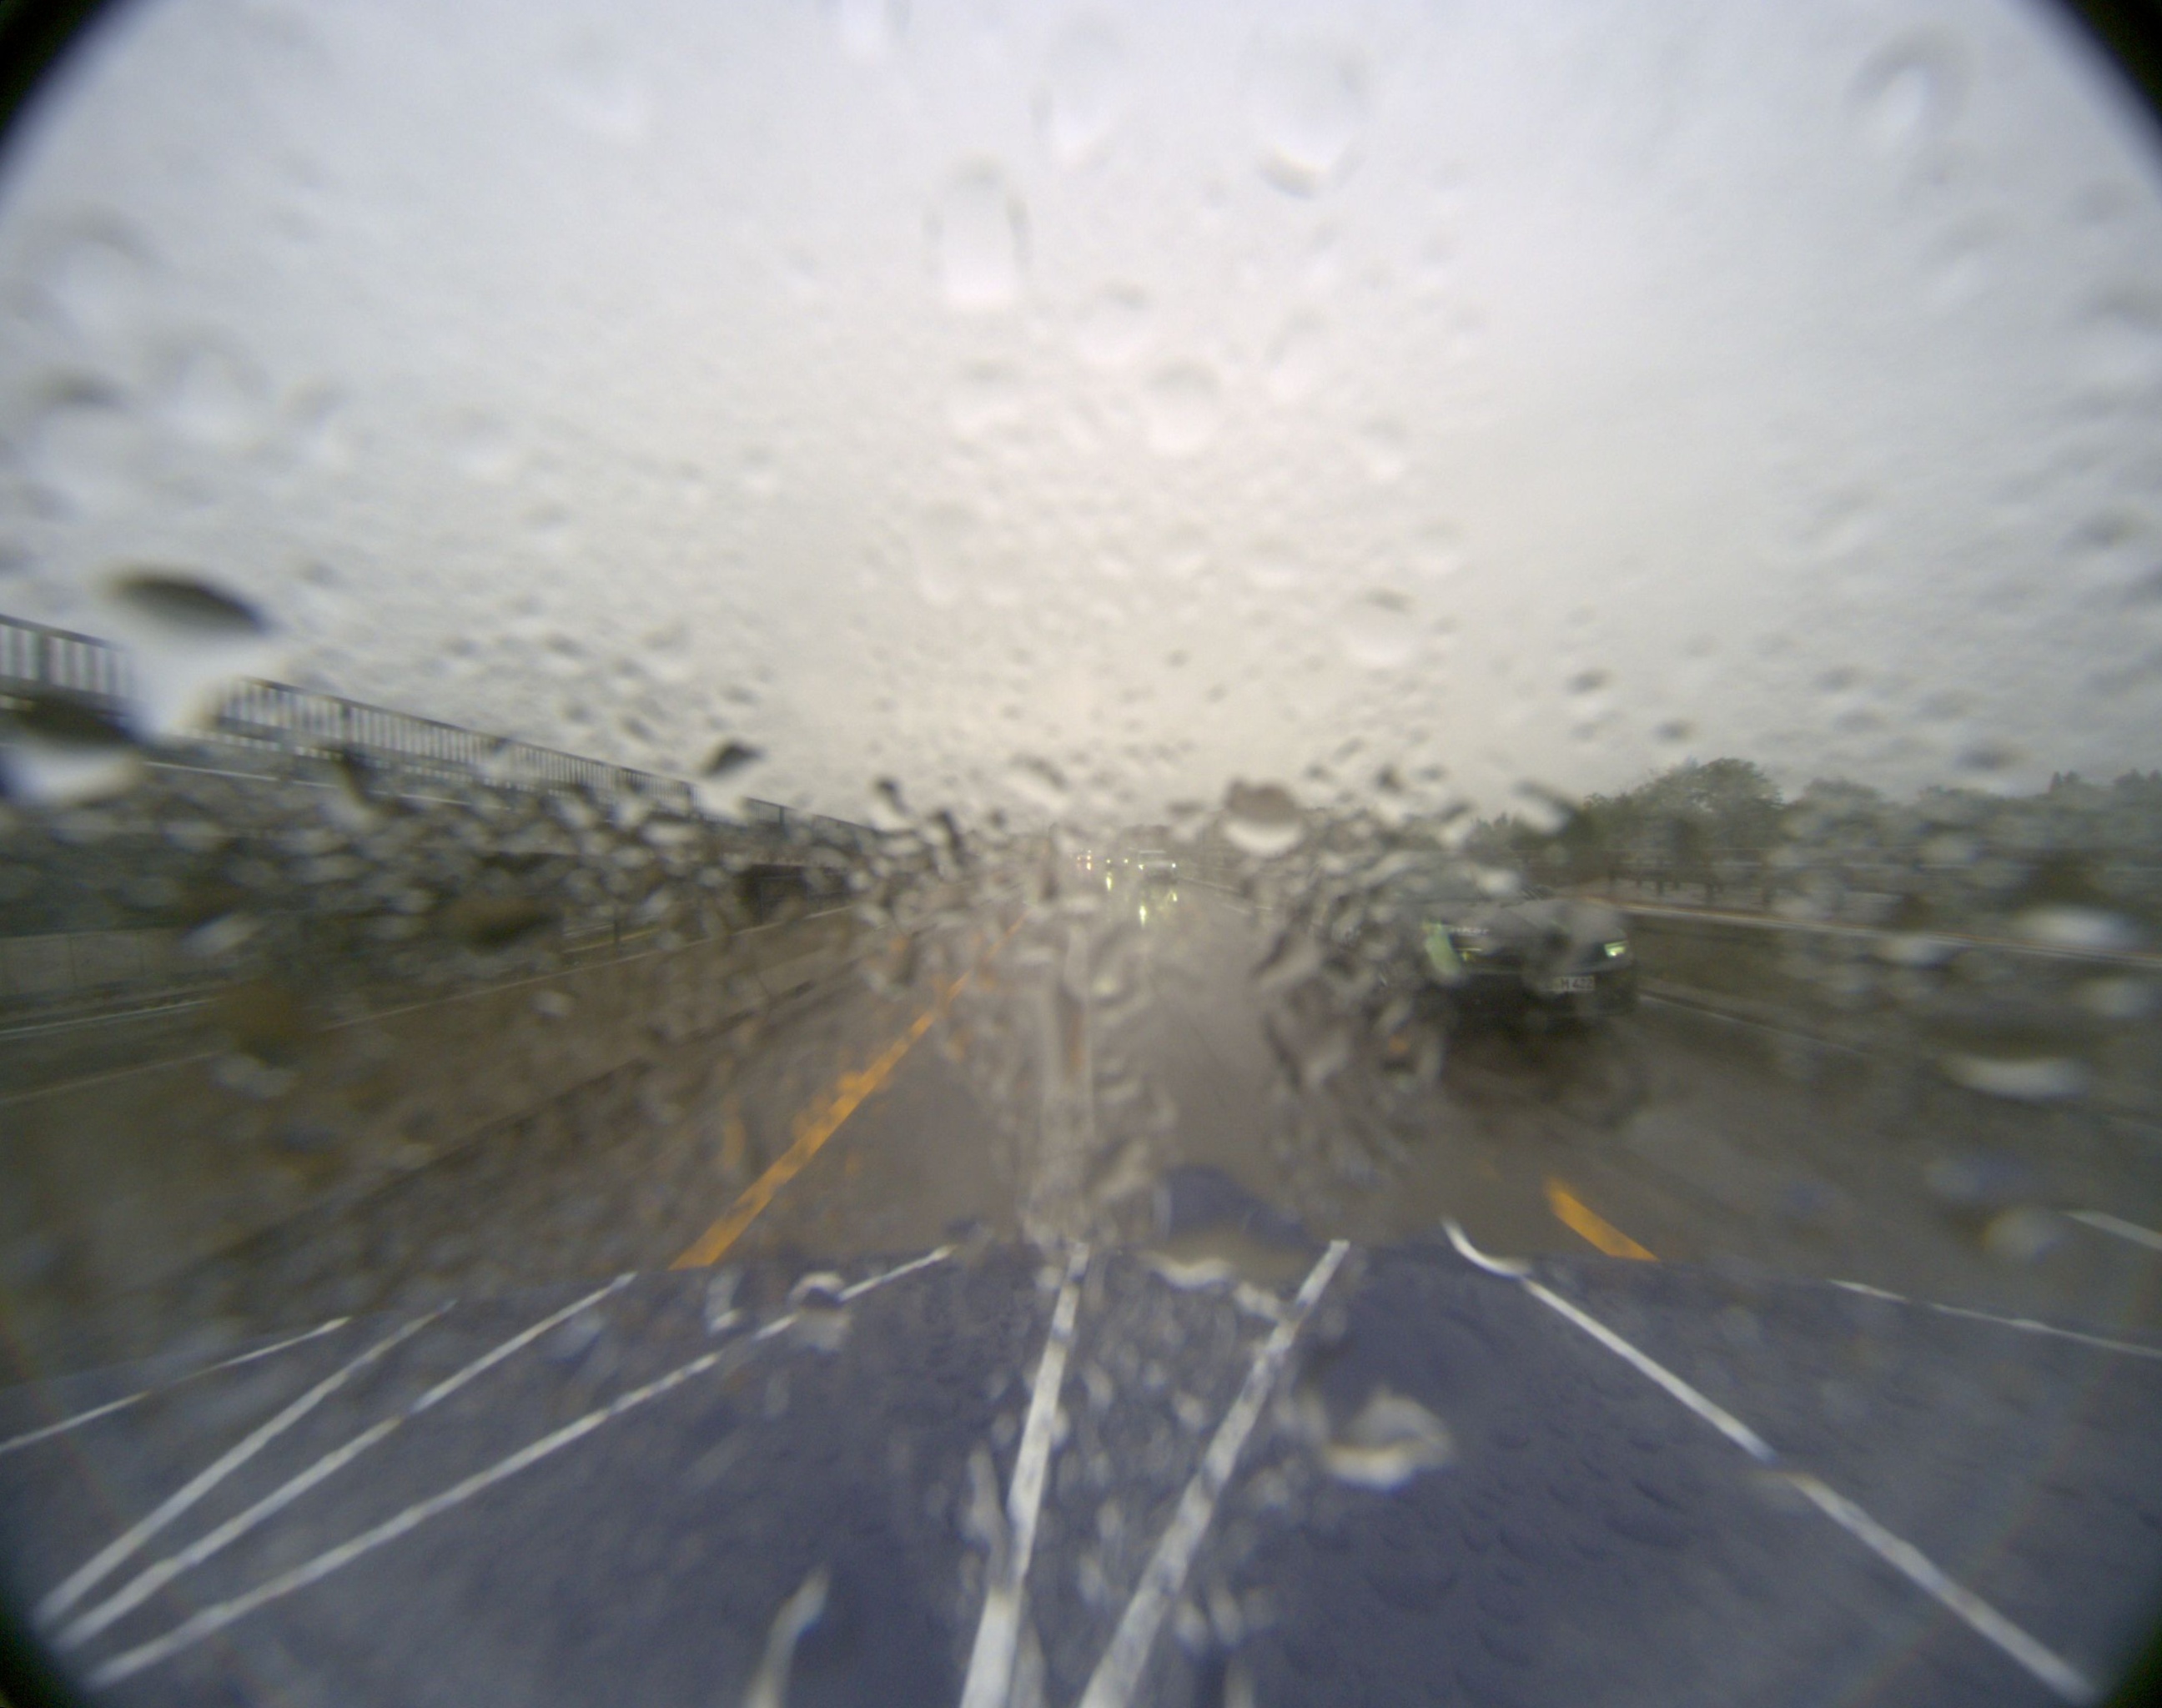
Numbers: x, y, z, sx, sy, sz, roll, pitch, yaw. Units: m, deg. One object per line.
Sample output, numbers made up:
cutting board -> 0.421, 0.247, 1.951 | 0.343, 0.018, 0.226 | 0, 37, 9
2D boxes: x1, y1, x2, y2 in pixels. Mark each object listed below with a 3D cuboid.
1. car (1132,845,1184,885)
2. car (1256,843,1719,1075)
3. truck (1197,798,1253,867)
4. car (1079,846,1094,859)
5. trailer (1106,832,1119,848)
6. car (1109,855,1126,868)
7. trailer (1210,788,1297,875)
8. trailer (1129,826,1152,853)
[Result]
car -> 3.582, 0.479, 36.136 | 1.972, 1.670, 3.999 | -2, 1, -1
car -> 3.296, 0.707, 7.506 | 1.944, 1.518, 4.795 | -1, 0, -1
truck -> 10.017, -1.476, 53.372 | 2.509, 4.437, 6.879 | -2, 1, 0
car -> 0.741, -0.220, 110.998 | 1.999, 1.762, 3.999 | -2, 1, -1
trailer -> 8.774, -4.022, 211.404 | 2.693, 4.253, 13.067 | -2, 1, 0
car -> 3.094, 0.639, 64.875 | 1.335, 1.105, 3.198 | 1, 0, 0
trailer -> 9.977, -1.296, 45.341 | 2.491, 4.418, 11.192 | -2, 1, 0
trailer -> 9.845, -2.423, 126.351 | 2.657, 4.086, 12.311 | -2, 1, 0
